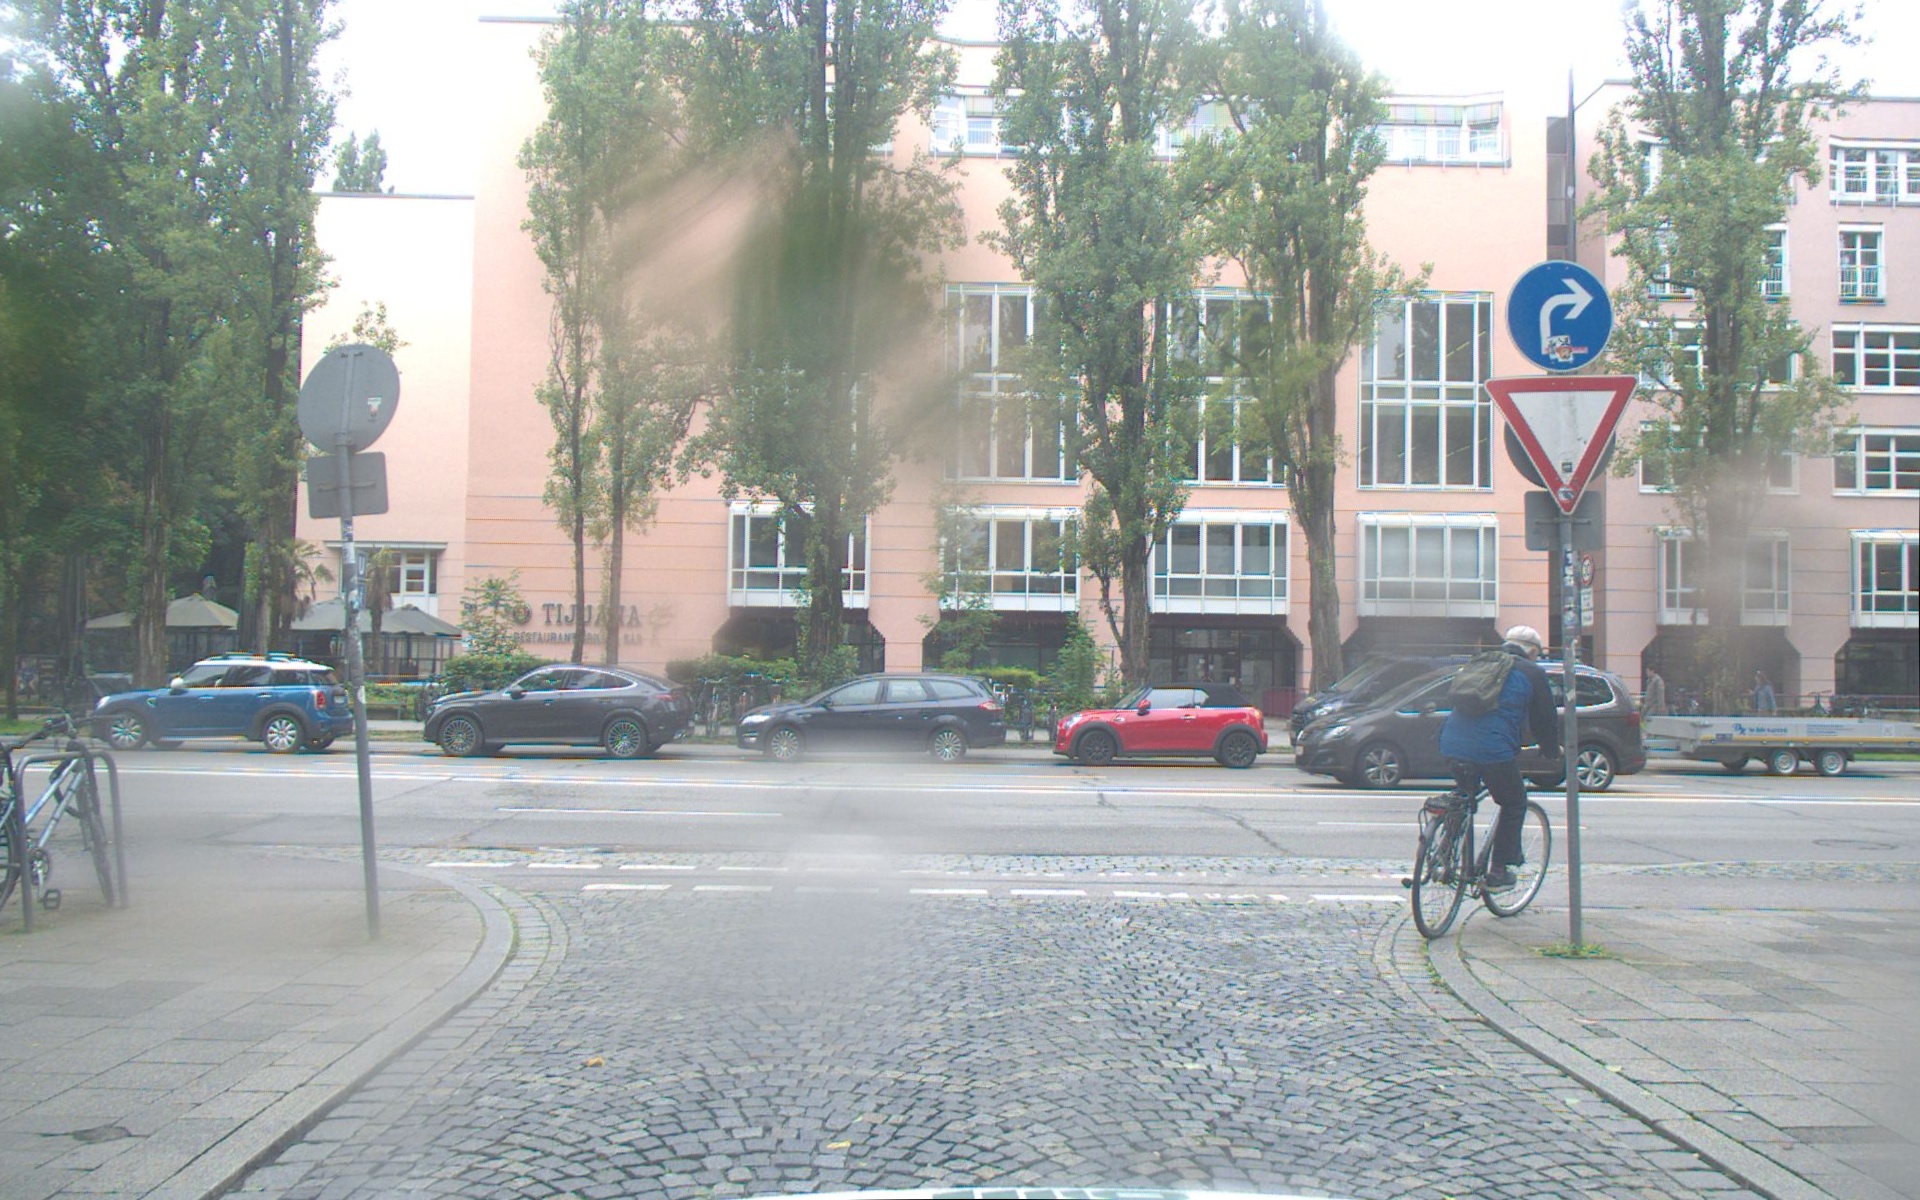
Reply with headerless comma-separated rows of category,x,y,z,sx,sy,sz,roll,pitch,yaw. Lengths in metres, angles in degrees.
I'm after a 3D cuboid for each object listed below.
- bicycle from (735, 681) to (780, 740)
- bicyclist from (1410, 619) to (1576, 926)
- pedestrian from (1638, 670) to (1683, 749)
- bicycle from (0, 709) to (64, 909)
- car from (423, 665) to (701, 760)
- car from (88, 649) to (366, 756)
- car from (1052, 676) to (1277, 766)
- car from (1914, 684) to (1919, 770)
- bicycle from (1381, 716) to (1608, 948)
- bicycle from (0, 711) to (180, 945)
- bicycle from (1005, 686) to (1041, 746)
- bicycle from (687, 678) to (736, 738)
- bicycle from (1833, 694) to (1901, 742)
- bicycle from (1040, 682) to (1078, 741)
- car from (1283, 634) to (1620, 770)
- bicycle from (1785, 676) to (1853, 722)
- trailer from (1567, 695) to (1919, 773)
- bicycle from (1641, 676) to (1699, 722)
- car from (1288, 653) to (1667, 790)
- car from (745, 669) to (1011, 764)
bicycle,-4.080,2.213,33.425,0.660,1.144,1.988,1,-2,0
bicyclist,3.042,0.942,9.421,0.710,1.648,0.754,-1,-3,35
pedestrian,15.873,2.468,37.477,0.714,1.744,0.709,1,-3,0
bicycle,-5.708,1.181,9.109,0.480,1.112,1.703,1,-2,4
car,-6.909,1.948,29.058,4.408,1.556,1.793,1,-2,-1
car,-12.724,1.796,28.909,3.983,1.762,1.792,1,-4,-2
car,3.534,2.095,29.039,3.780,1.474,1.678,1,-2,2
car,19.405,2.260,29.114,4.133,1.569,1.806,0,-4,1
bicycle,3.127,1.269,9.564,0.704,1.168,1.893,-2,-4,35
bicycle,-4.941,1.184,8.959,0.480,1.112,1.703,1,-2,4
bicycle,1.256,2.335,33.447,0.660,1.144,1.741,1,-2,0
bicycle,-4.982,2.157,33.279,0.660,1.144,1.988,1,-2,0
bicycle,23.374,3.028,42.647,0.660,1.144,1.988,1,-2,0
bicycle,1.989,2.238,33.451,0.660,1.144,1.741,1,-2,0
car,8.580,1.783,29.225,5.367,2.236,2.023,1,-2,-1
bicycle,22.371,2.572,43.106,0.660,1.144,2.106,1,-2,0
trailer,14.205,2.368,29.489,5.895,1.220,2.404,1,-2,0
bicycle,18.491,2.567,43.137,0.660,1.144,1.988,1,-2,0
car,7.138,1.688,23.192,4.701,1.752,1.999,1,-4,0
car,-1.397,2.026,29.158,4.514,1.556,1.793,1,-2,-1
